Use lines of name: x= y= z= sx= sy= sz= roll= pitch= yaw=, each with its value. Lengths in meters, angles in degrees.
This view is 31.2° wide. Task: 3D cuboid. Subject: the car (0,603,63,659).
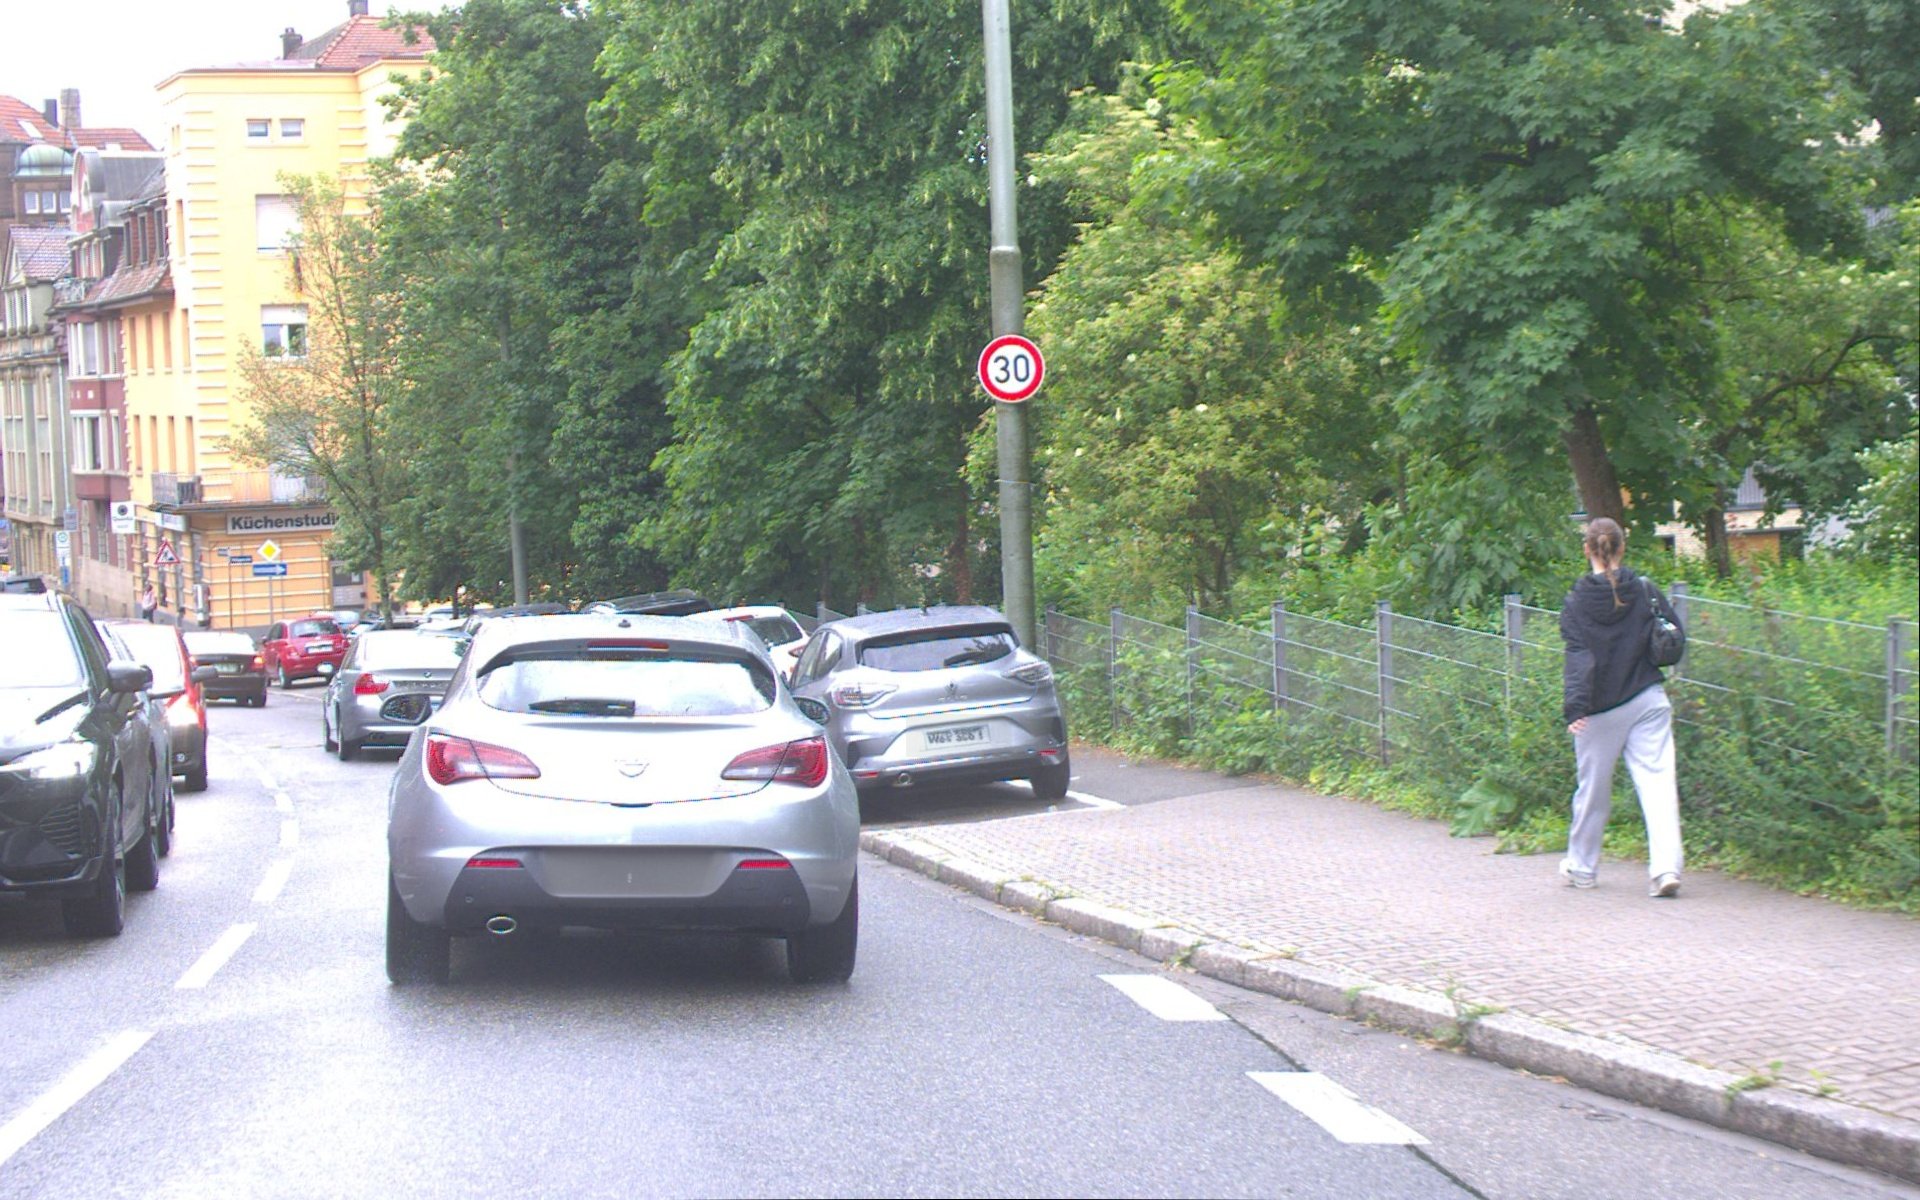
car: x=-26.826 y=0.883 z=99.129 sx=1.639 sy=1.531 sz=3.717 roll=-2 pitch=0 yaw=-17

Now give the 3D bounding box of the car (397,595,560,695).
car: x=-8.020 y=0.756 z=56.935 sx=1.975 sy=1.447 sz=4.115 roll=-5 pitch=0 yaw=-17

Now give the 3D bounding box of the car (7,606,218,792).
car: x=-7.829 y=0.866 z=32.012 sx=1.654 sy=1.563 sz=4.001 roll=-2 pitch=0 yaw=-11

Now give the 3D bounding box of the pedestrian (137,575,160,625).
pedestrian: x=-25.290 y=-0.001 z=107.166 sx=0.613 sy=1.491 sz=0.553 roll=-2 pitch=3 yaw=-18

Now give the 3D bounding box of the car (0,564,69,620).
car: x=-33.119 y=-0.266 z=122.693 sx=1.993 sy=1.683 sz=4.001 roll=-8 pitch=2 yaw=-20

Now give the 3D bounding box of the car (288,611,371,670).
car: x=-16.838 y=1.069 z=91.915 sx=1.776 sy=1.425 sz=3.786 roll=-1 pitch=2 yaw=-4

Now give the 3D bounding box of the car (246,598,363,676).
car: x=-14.247 y=0.816 z=74.583 sx=1.814 sy=1.462 sz=4.001 roll=-7 pitch=1 yaw=-19

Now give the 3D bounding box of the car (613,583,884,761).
car: x=-2.238 y=0.735 z=35.277 sx=1.814 sy=1.490 sz=4.001 roll=-8 pitch=1 yaw=-15

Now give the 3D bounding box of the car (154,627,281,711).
car: x=-13.868 y=1.255 z=64.062 sx=1.767 sy=1.410 sz=3.718 roll=-1 pitch=1 yaw=-21

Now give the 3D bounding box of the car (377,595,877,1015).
car: x=-1.444 y=0.751 z=14.748 sx=1.814 sy=1.425 sz=4.001 roll=-1 pitch=1 yaw=-6

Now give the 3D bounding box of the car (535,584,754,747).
car: x=-3.820 y=0.733 z=40.864 sx=1.821 sy=1.677 sz=4.805 roll=-5 pitch=1 yaw=-13

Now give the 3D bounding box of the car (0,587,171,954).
car: x=-5.002 y=0.765 z=17.024 sx=1.874 sy=1.569 sz=4.587 roll=-2 pitch=0 yaw=-10

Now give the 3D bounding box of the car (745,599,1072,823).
car: x=-0.465 y=0.771 z=25.487 sx=1.649 sy=1.400 sz=3.814 roll=-5 pitch=1 yaw=-11

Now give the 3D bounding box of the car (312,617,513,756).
car: x=-6.052 y=0.918 z=37.679 sx=1.775 sy=1.425 sz=3.786 roll=-1 pitch=0 yaw=-15

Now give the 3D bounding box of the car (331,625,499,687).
car: x=-13.506 y=1.402 z=85.215 sx=3.772 sy=1.425 sz=1.782 roll=2 pitch=-2 yaw=-21

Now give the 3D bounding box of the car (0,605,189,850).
car: x=-6.148 y=0.798 z=23.120 sx=1.773 sy=1.492 sz=4.264 roll=0 pitch=0 yaw=-11

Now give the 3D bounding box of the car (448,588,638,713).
car: x=-6.216 y=0.757 z=50.836 sx=1.975 sy=1.603 sz=4.486 roll=-5 pitch=0 yaw=-16

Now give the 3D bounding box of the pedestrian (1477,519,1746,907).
pedestrian: x=2.861 y=0.482 z=15.187 sx=0.765 sy=1.600 sz=0.966 roll=-5 pitch=1 yaw=-9
